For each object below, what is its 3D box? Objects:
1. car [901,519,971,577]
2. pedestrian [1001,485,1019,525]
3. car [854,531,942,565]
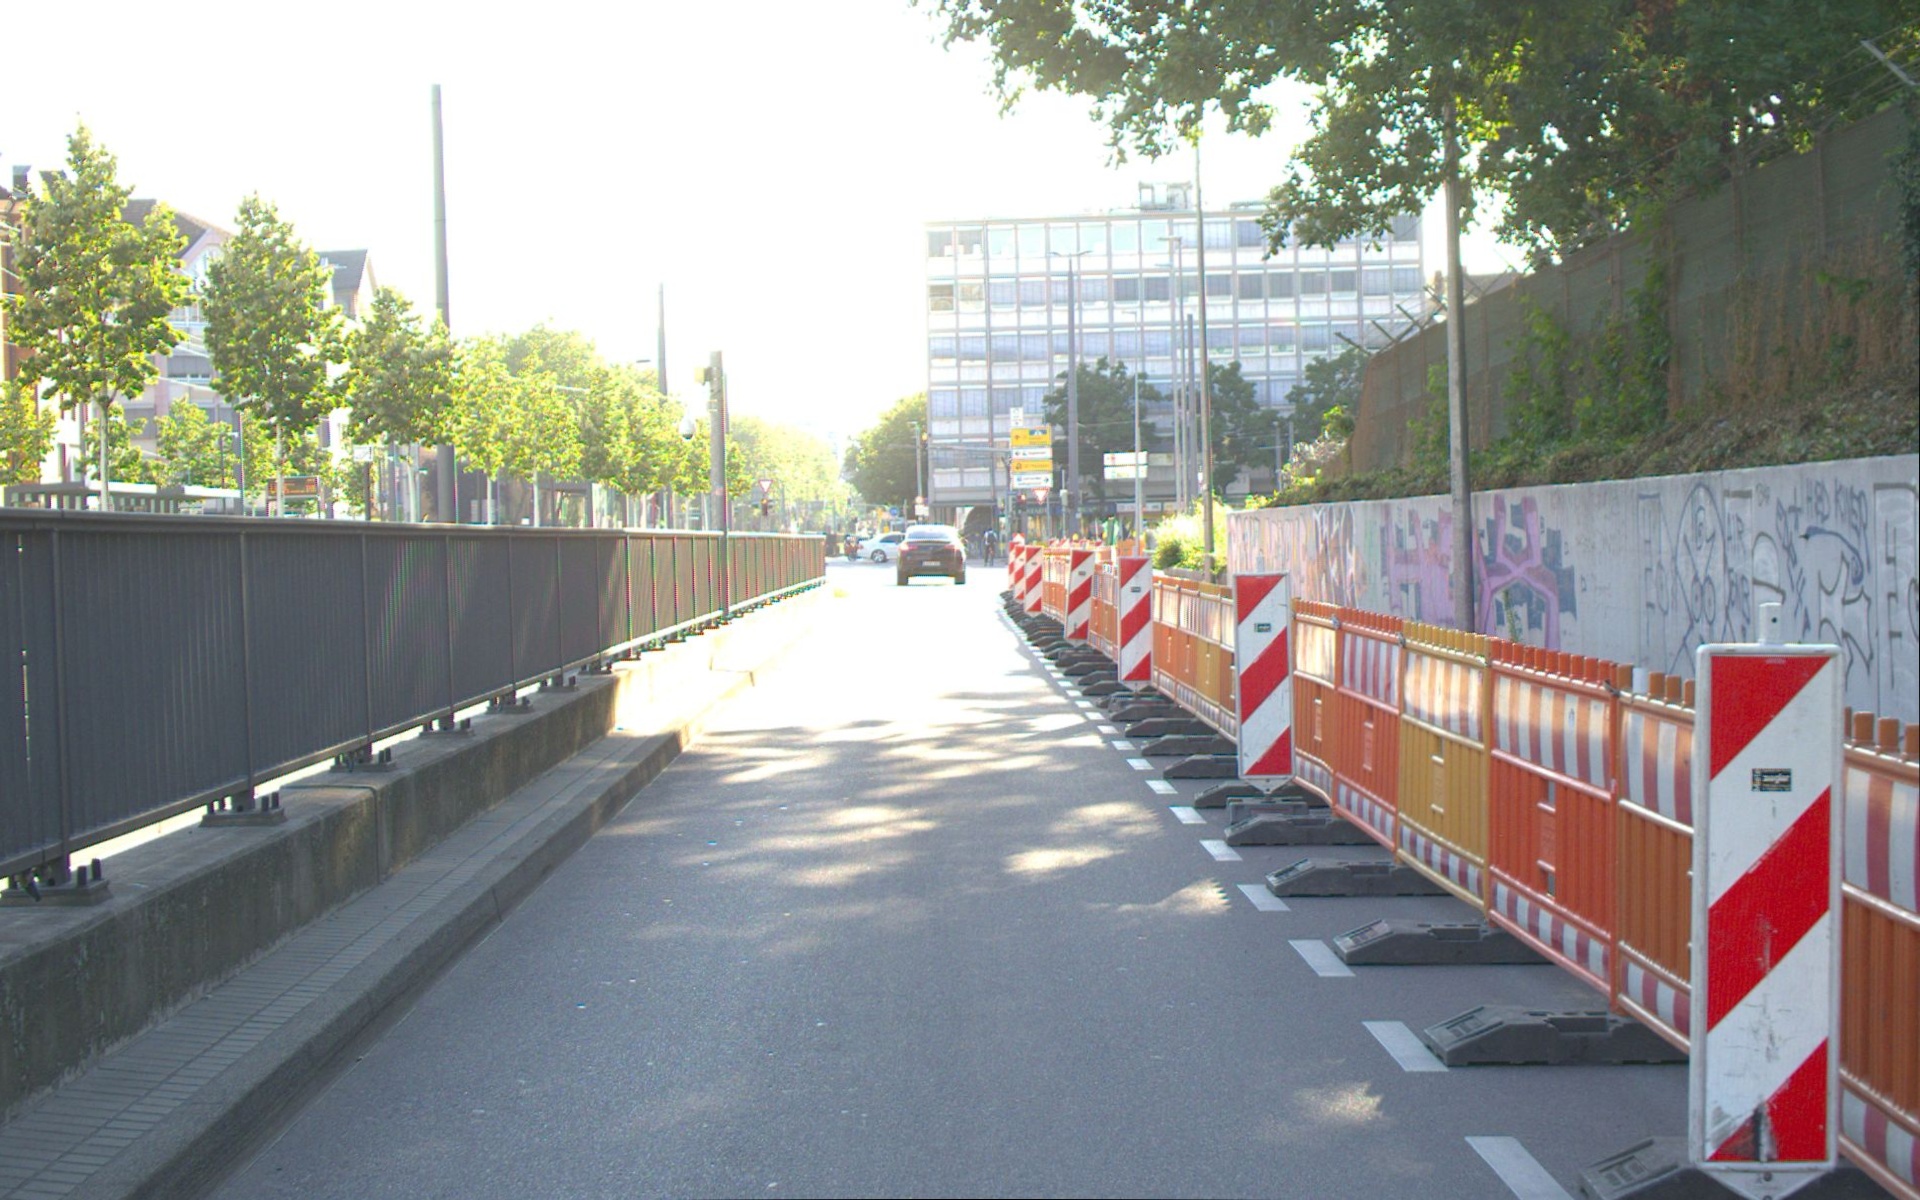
[{"bbox_3d":[-0.695,-1.513,101.292,2.005,1.653,4.000,1,1,0],"label":"car"},{"bbox_3d":[2.681,-5.051,183.441,0.891,2.105,0.718,-1,2,5],"label":"pedestrian"},{"bbox_3d":[-2.992,-2.508,166.668,3.988,1.634,1.999,0,0,9],"label":"car"}]
